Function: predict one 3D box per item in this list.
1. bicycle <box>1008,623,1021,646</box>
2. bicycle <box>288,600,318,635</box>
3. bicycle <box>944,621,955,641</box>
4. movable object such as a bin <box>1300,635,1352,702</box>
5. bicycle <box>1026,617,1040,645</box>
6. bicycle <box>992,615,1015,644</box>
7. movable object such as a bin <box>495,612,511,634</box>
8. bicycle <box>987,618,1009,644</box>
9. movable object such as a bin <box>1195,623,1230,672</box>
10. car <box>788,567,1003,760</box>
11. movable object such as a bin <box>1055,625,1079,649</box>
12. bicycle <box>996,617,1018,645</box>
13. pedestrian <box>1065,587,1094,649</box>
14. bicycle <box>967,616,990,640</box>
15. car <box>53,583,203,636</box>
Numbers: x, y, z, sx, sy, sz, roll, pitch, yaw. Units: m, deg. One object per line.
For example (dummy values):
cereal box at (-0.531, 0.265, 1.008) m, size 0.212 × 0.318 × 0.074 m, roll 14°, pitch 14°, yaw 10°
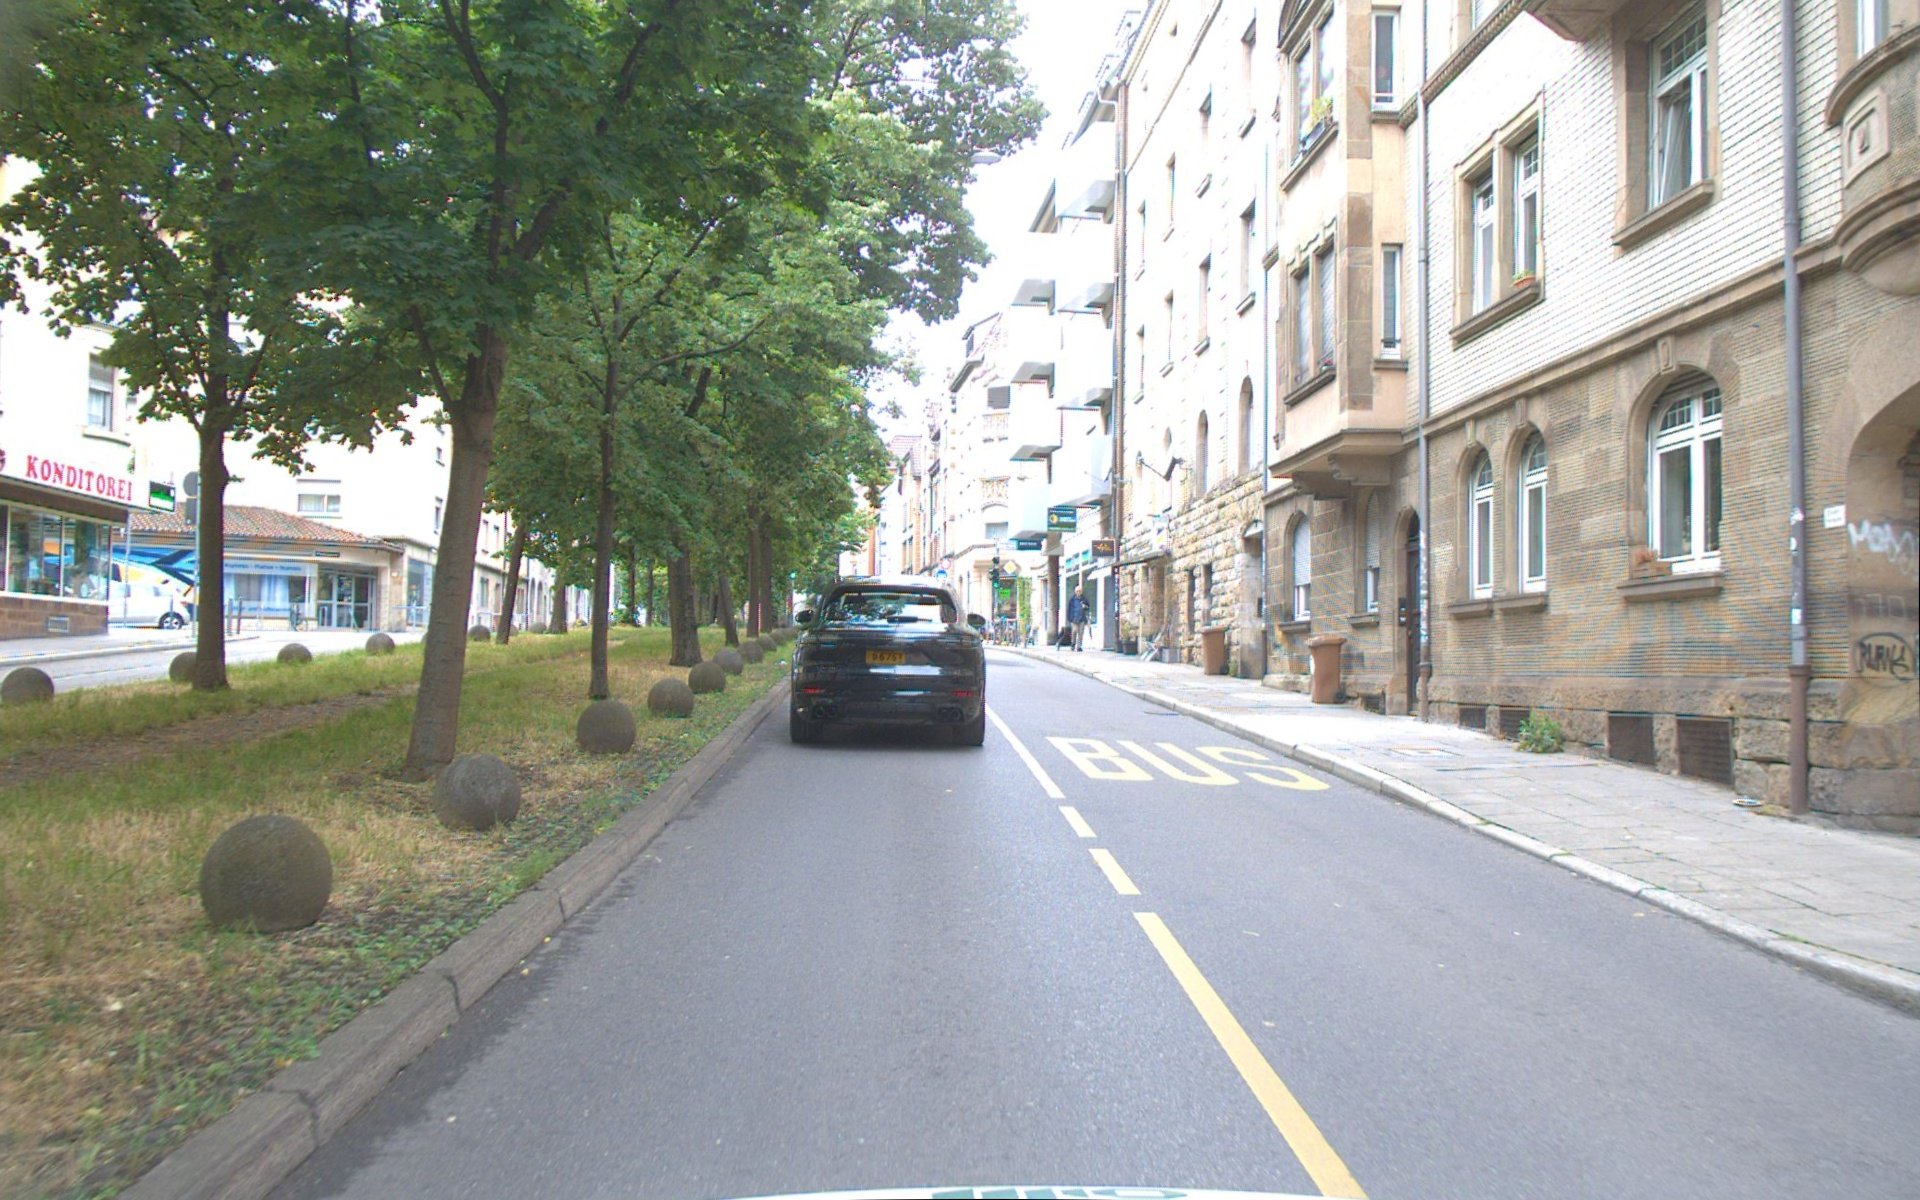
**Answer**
bicycle at (2.698, 1.696, 81.824) m, size 0.342 × 1.077 × 1.832 m, roll 4°, pitch -1°, yaw -6°
bicycle at (-22.027, 0.593, 55.404) m, size 0.752 × 1.103 × 2.020 m, roll 3°, pitch -2°, yaw -25°
bicycle at (-0.592, 1.780, 94.508) m, size 0.438 × 1.055 × 2.245 m, roll 0°, pitch -2°, yaw -6°
movable object such as a bin at (5.246, 0.977, 23.714) m, size 0.582 × 0.920 × 0.562 m, roll 1°, pitch -1°, yaw -2°
bicycle at (3.591, 1.522, 81.574) m, size 0.438 × 1.181 × 1.833 m, roll 0°, pitch 4°, yaw -6°
bicycle at (1.598, 1.088, 61.252) m, size 0.281 × 1.073 × 1.752 m, roll 2°, pitch -2°, yaw -17°
movable object such as a bin at (-23.184, 1.188, 83.903) m, size 0.679 × 1.078 × 0.688 m, roll 2°, pitch -2°, yaw -9°
bicycle at (1.389, 1.137, 60.966) m, size 0.281 × 0.948 × 1.752 m, roll 2°, pitch -2°, yaw -17°
movable object such as a bin at (4.927, 0.932, 32.262) m, size 0.582 × 0.920 × 0.502 m, roll 1°, pitch -4°, yaw -2°
car at (-0.676, 0.558, 17.517) m, size 1.954 × 1.694 × 3.999 m, roll 3°, pitch 2°, yaw -2°
movable object such as a bin at (3.079, 1.061, 47.715) m, size 0.595 × 0.680 × 0.858 m, roll 0°, pitch -2°, yaw -3°
bicycle at (1.644, 1.090, 57.909) m, size 0.558 × 0.948 × 1.773 m, roll 2°, pitch -2°, yaw -4°
pedestrian at (3.391, 0.517, 46.888) m, size 0.736 × 1.722 × 0.858 m, roll 0°, pitch -2°, yaw -3°
bicycle at (0.905, 1.439, 83.478) m, size 0.862 × 1.149 × 2.976 m, roll 2°, pitch -2°, yaw -5°
car at (-26.318, 0.291, 52.348) m, size 3.998 × 1.505 × 1.798 m, roll -2°, pitch 0°, yaw -37°
